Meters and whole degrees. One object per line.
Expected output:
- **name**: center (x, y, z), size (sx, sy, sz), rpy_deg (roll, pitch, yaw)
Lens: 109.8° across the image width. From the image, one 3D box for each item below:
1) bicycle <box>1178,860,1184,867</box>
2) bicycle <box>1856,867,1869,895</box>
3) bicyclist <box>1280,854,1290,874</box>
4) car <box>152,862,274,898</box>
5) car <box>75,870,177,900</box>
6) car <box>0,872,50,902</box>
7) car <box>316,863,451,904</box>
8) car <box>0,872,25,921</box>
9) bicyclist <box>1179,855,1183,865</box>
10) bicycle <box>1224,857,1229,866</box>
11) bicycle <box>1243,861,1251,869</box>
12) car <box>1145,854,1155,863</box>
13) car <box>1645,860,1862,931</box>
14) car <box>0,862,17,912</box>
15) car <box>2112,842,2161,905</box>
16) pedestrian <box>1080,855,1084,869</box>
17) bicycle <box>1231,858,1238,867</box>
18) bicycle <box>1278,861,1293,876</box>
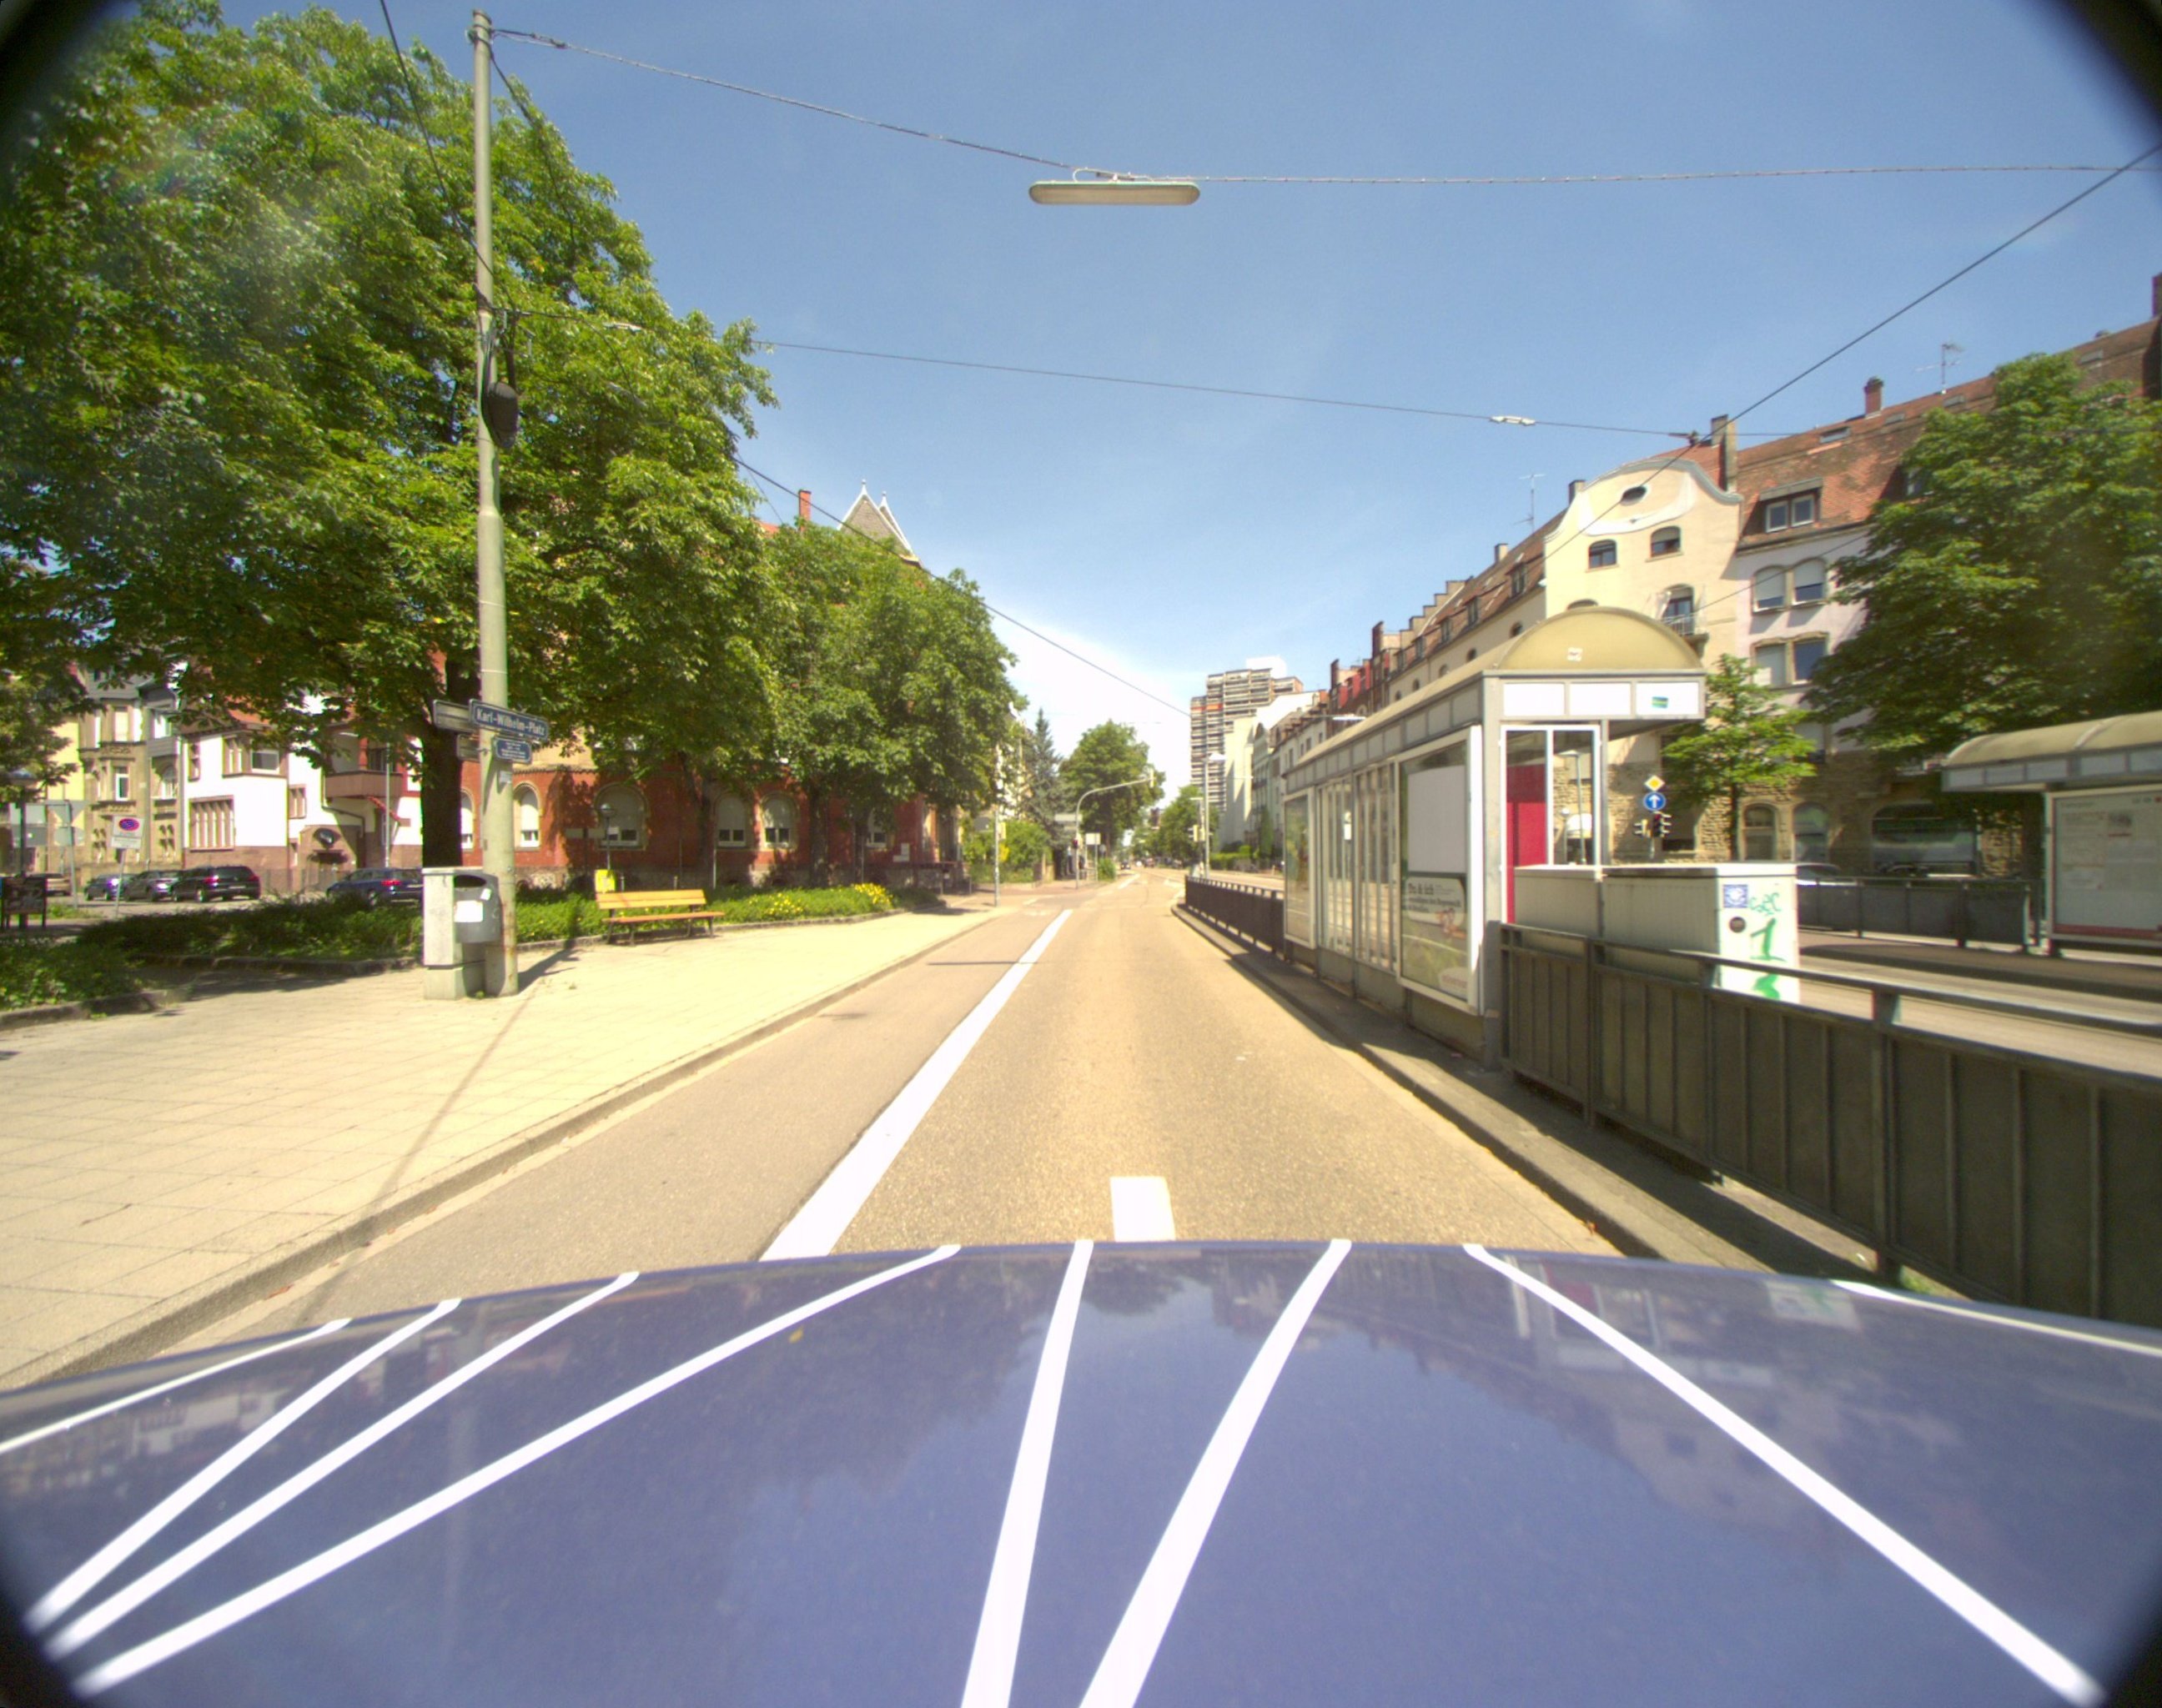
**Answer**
- **bicycle**: center (15.893, 1.454, 120.532), size (0.645, 1.068, 2.187), rpy_deg (0, 0, 1)
- **bicycle**: center (29.250, 1.004, 28.439), size (0.289, 0.968, 1.676), rpy_deg (0, 1, 44)
- **bicyclist**: center (16.659, 0.821, 62.118), size (0.609, 1.565, 0.585), rpy_deg (-1, 1, 1)
- **car**: center (-40.039, 1.206, 35.038), size (5.477, 1.523, 1.991), rpy_deg (-1, 1, 23)
- **car**: center (-49.010, 1.580, 38.991), size (4.605, 1.456, 1.908), rpy_deg (-1, 1, 21)
- **car**: center (-59.919, 1.835, 42.236), size (4.391, 1.547, 1.908), rpy_deg (-1, 1, 21)
- **car**: center (-27.146, 1.132, 29.573), size (4.748, 1.433, 1.908), rpy_deg (-1, 1, 21)
- **car**: center (-32.881, 1.237, 21.060), size (1.723, 1.421, 3.895), rpy_deg (-1, -1, 20)
- **bicyclist**: center (15.913, 0.979, 120.583), size (0.611, 1.653, 0.579), rpy_deg (0, 0, 1)
- **bicycle**: center (19.369, 0.985, 100.918), size (0.290, 1.040, 1.900), rpy_deg (-1, 0, 1)
- **bicycle**: center (19.033, 1.224, 86.990), size (0.463, 0.943, 1.954), rpy_deg (-1, 0, 1)
- **car**: center (14.883, 0.901, 163.690), size (1.848, 1.926, 4.823), rpy_deg (1, 0, 2)
- **car**: center (14.724, 0.838, 16.930), size (1.544, 1.331, 3.718), rpy_deg (-1, 0, 0)
- **car**: center (-37.331, 1.084, 23.853), size (1.723, 1.642, 4.273), rpy_deg (-1, -1, 20)
- **car**: center (28.357, 0.476, 18.533), size (1.585, 1.566, 3.580), rpy_deg (-1, 0, -25)
- **pedestrian**: center (0.127, 0.956, 89.918), size (0.547, 1.683, 0.755), rpy_deg (0, 1, 1)
- **bicycle**: center (19.302, 1.042, 95.411), size (0.493, 1.090, 2.047), rpy_deg (-1, 0, 1)
- **bicycle**: center (16.692, 1.193, 62.048), size (0.629, 1.150, 1.978), rpy_deg (-1, 0, 1)
